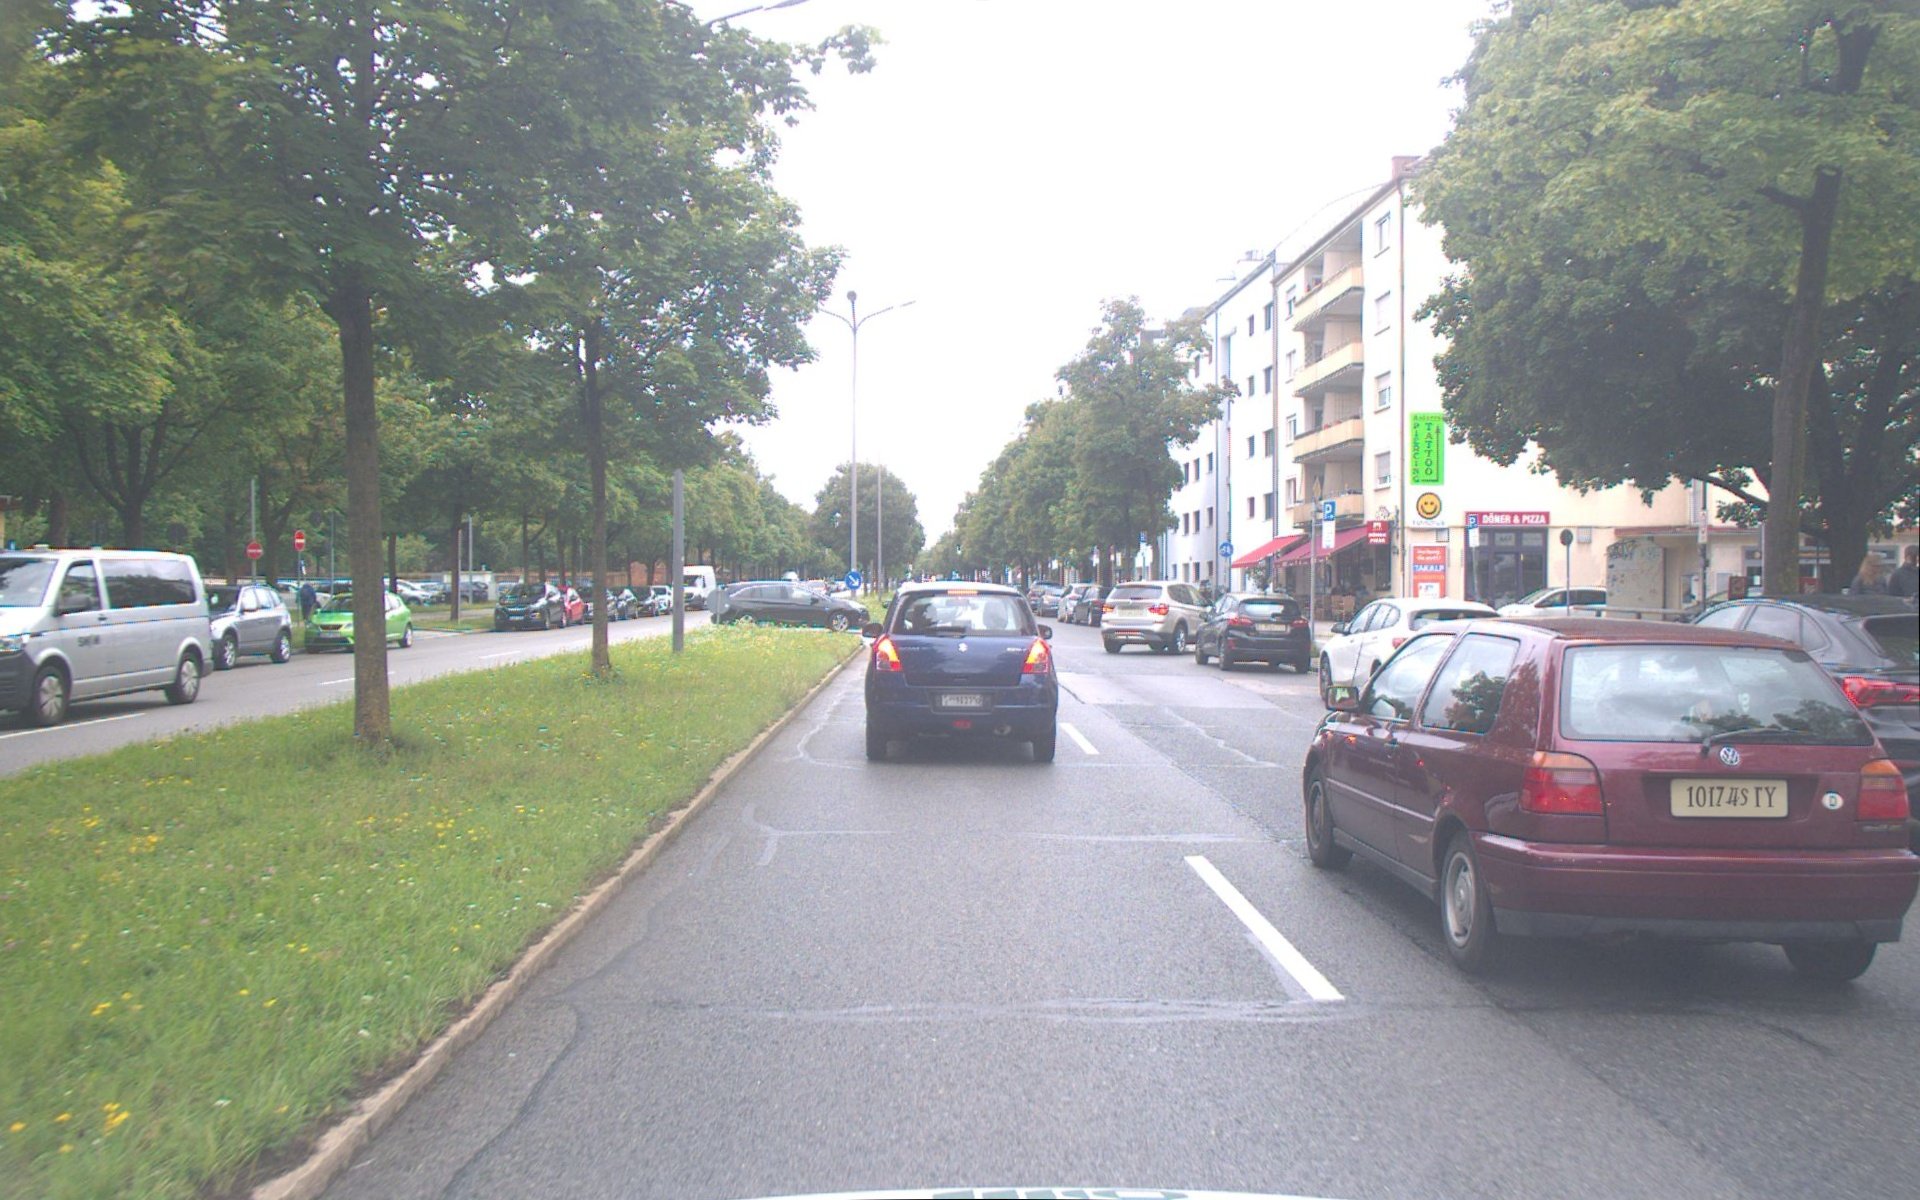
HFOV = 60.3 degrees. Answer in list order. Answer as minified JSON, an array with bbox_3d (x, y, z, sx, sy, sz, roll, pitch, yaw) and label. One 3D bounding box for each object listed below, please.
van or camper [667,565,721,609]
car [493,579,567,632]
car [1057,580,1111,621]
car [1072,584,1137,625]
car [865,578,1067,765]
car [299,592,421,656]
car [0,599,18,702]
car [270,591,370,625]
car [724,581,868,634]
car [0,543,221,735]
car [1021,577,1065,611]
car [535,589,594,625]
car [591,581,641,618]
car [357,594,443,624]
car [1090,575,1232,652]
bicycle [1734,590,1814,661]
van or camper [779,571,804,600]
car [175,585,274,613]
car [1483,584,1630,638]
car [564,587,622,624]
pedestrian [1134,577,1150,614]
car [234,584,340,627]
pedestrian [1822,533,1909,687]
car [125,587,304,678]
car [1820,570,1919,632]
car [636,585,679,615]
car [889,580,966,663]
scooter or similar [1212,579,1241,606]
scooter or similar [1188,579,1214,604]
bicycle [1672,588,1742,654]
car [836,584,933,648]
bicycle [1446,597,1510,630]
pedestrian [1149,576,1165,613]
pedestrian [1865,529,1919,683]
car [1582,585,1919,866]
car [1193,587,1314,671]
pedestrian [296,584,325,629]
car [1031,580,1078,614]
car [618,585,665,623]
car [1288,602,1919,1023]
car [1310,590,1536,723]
[{"bbox_3d":[-16.010,-0.768,100.041,2.073,2.525,7.448,1,0,0],"label":"van or camper"},{"bbox_3d":[-15.109,0.181,58.291,1.682,1.771,3.878,1,0,-2],"label":"car"},{"bbox_3d":[5.048,-0.002,67.750,1.755,1.585,4.223,-1,1,-2],"label":"car"},{"bbox_3d":[5.428,0.142,62.610,1.829,1.442,4.221,-1,1,-4],"label":"car"},{"bbox_3d":[-0.017,0.564,15.518,1.648,1.528,3.917,0,1,-2],"label":"car"},{"bbox_3d":[-14.894,0.559,41.266,1.515,1.434,3.880,-2,1,1],"label":"car"},{"bbox_3d":[-14.533,0.777,21.996,1.574,1.469,4.278,-2,1,-1],"label":"car"},{"bbox_3d":[-28.268,0.346,73.182,3.792,1.471,1.670,1,0,-7],"label":"car"},{"bbox_3d":[-4.747,0.200,47.814,4.043,1.494,1.837,0,1,-7],"label":"car"},{"bbox_3d":[-10.683,0.410,19.518,1.763,1.967,4.992,-2,0,-2],"label":"car"},{"bbox_3d":[4.257,-0.330,85.453,1.828,1.712,4.222,-1,1,-3],"label":"car"},{"bbox_3d":[-15.260,0.244,63.982,1.558,1.335,3.379,1,0,-2],"label":"car"},{"bbox_3d":[-15.397,-0.027,74.160,1.558,1.585,3.878,1,0,-2],"label":"car"},{"bbox_3d":[-28.057,0.446,82.933,3.792,1.471,1.670,1,0,-7],"label":"car"},{"bbox_3d":[4.818,0.291,39.161,1.830,1.690,4.401,2,1,28],"label":"car"},{"bbox_3d":[13.375,0.394,27.215,0.373,1.122,1.883,1,0,0],"label":"bicycle"},{"bbox_3d":[-20.015,-1.747,196.708,2.509,3.353,6.935,1,0,-2],"label":"van or camper"},{"bbox_3d":[-39.736,-0.057,89.442,4.595,1.471,1.672,1,0,-1],"label":"car"},{"bbox_3d":[16.786,0.303,46.664,3.475,1.442,1.872,0,1,1],"label":"car"},{"bbox_3d":[-15.243,0.217,68.815,1.633,1.471,3.878,1,0,-2],"label":"car"},{"bbox_3d":[10.067,-0.241,91.475,0.778,2.049,1.006,0,0,-1],"label":"pedestrian"},{"bbox_3d":[-28.572,0.218,70.330,3.843,1.748,1.670,1,0,-7],"label":"car"},{"bbox_3d":[11.543,0.122,21.099,0.576,1.923,0.901,-1,0,-2],"label":"pedestrian"},{"bbox_3d":[-14.731,0.593,32.936,1.657,1.614,4.369,-2,1,-2],"label":"car"},{"bbox_3d":[28.729,0.002,49.911,4.640,1.804,1.871,-1,0,-3],"label":"car"},{"bbox_3d":[-15.671,-0.009,85.867,1.599,1.456,3.878,1,0,-2],"label":"car"},{"bbox_3d":[-0.651,0.372,31.883,1.415,1.509,3.105,0,1,-2],"label":"car"},{"bbox_3d":[13.594,-0.388,84.332,1.011,1.330,2.755,0,1,0],"label":"scooter or similar"},{"bbox_3d":[13.024,-0.451,89.531,1.011,1.330,2.755,0,1,0],"label":"scooter or similar"},{"bbox_3d":[13.318,0.361,29.522,0.381,1.124,1.853,1,0,0],"label":"bicycle"},{"bbox_3d":[-1.925,0.364,40.943,1.654,1.488,3.719,0,1,-15],"label":"car"},{"bbox_3d":[16.019,0.414,51.154,1.810,0.974,0.557,1,0,-3],"label":"bicycle"},{"bbox_3d":[10.883,-0.297,91.437,0.778,2.049,1.006,0,0,-1],"label":"pedestrian"},{"bbox_3d":[12.208,0.071,21.151,0.714,1.923,0.919,-1,0,-2],"label":"pedestrian"},{"bbox_3d":[5.997,0.702,11.456,1.682,1.560,4.275,1,1,-1],"label":"car"},{"bbox_3d":[5.628,0.524,32.101,1.584,1.491,3.673,2,0,-1],"label":"car"},{"bbox_3d":[-22.853,0.212,58.174,0.712,1.560,0.721,1,0,-1],"label":"pedestrian"},{"bbox_3d":[4.587,-0.169,80.631,1.828,1.544,4.222,-1,1,-3],"label":"car"},{"bbox_3d":[-15.478,0.169,80.537,1.599,1.771,3.878,1,0,-2],"label":"car"},{"bbox_3d":[2.787,0.750,7.757,1.648,1.408,3.918,1,0,-1],"label":"car"},{"bbox_3d":[5.950,0.663,21.729,1.648,1.491,4.136,2,1,-2],"label":"car"}]
